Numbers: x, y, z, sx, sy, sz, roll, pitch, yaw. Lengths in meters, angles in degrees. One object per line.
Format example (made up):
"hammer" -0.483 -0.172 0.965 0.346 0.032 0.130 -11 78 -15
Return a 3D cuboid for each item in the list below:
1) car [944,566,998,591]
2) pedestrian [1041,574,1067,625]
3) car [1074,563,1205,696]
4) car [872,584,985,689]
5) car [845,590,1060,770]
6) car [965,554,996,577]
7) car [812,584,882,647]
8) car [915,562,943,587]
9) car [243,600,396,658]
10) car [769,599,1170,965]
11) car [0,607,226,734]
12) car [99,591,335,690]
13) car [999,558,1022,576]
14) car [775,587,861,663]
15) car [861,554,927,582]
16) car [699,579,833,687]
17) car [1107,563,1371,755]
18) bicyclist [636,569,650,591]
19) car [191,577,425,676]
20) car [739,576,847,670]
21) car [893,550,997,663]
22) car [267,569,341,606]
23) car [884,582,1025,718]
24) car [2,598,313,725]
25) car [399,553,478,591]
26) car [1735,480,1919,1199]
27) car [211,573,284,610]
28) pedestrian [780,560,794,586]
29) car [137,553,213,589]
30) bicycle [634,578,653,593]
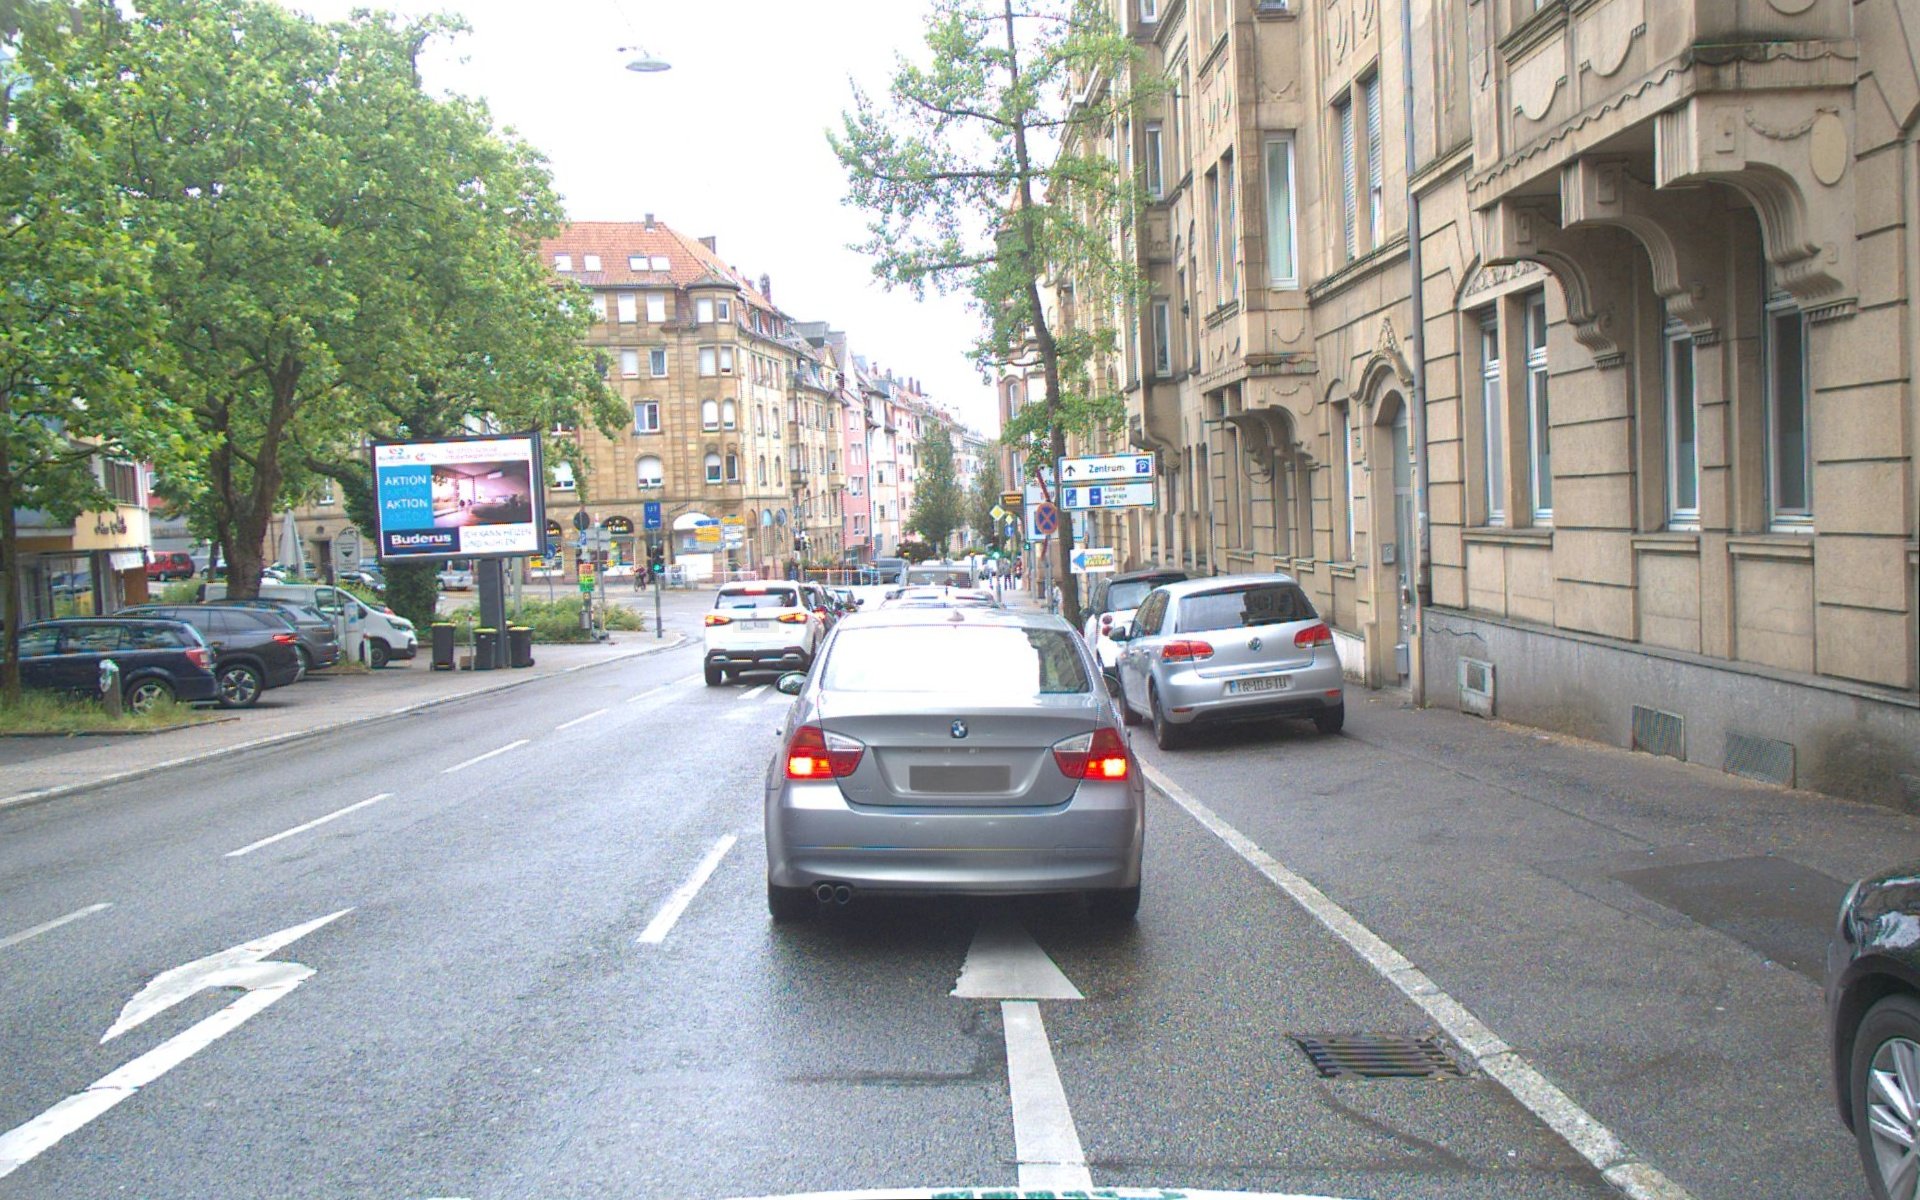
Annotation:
"car" 0.747 -1.453 114.002 1.957 1.606 3.991 1 0 31
"pedestrian" 2.951 -0.009 52.186 0.618 1.534 0.693 -6 0 -2
"car" 2.408 0.364 22.719 1.273 1.569 2.975 -6 1 -1
"car" -0.475 0.540 27.398 1.723 1.594 4.000 -1 1 0
"car" -0.048 0.634 15.363 1.723 1.407 4.000 -1 1 0
"car" 1.485 -2.499 120.600 1.951 1.606 4.002 1 0 5
"car" -3.266 0.424 48.381 1.723 1.737 4.000 -1 1 0
"car" -1.952 -1.607 104.238 1.680 1.476 3.741 -2 0 -1
"car" -17.989 0.791 46.562 3.916 1.475 1.757 -2 0 -22
"car" 0.049 0.728 8.429 1.590 1.407 3.615 -1 1 0
"car" -13.026 1.018 23.924 4.299 1.601 1.929 -3 1 -24
"car" -15.184 0.796 34.065 4.295 1.815 1.927 -2 0 -22
"car" 3.655 -2.394 120.634 1.405 1.195 3.433 1 0 -2
"car" -3.420 0.572 40.447 1.723 1.737 4.000 -1 1 0
"car" -5.138 -2.476 129.840 5.072 2.049 2.698 1 0 -1
"car" -3.164 0.494 27.730 1.830 1.654 3.999 -1 1 -1
"car" 2.587 0.488 16.297 1.725 1.476 3.999 -6 1 -1
"bicyclist" -18.437 -1.168 96.177 0.556 1.295 0.690 1 0 11
"car" -15.423 0.597 39.323 4.989 2.142 1.979 -2 0 -22
"car" -3.280 0.406 33.086 1.723 1.737 4.000 -1 1 0
"car" -0.309 0.115 33.304 1.953 2.143 3.999 0 0 -1
"car" -40.540 -0.784 102.212 4.196 2.138 1.998 2 2 28
"car" -0.050 0.546 20.703 1.562 1.490 4.000 1 1 0
"car" -12.794 0.937 26.666 4.308 1.701 1.842 -3 1 -24
"car" -30.335 -1.642 96.157 4.196 2.138 1.998 2 2 28
"car" 2.822 0.524 1.968 1.724 1.679 4.098 -6 1 0
"car" -44.938 -0.560 104.321 4.196 2.138 1.998 2 2 28
"pedestrian" -10.607 -1.656 101.299 0.716 1.605 0.528 -1 1 8
"car" -48.104 -1.774 101.368 3.904 2.048 2.001 -2 1 21
"bicycle" -18.404 -0.830 96.262 0.561 0.873 1.523 1 0 10
